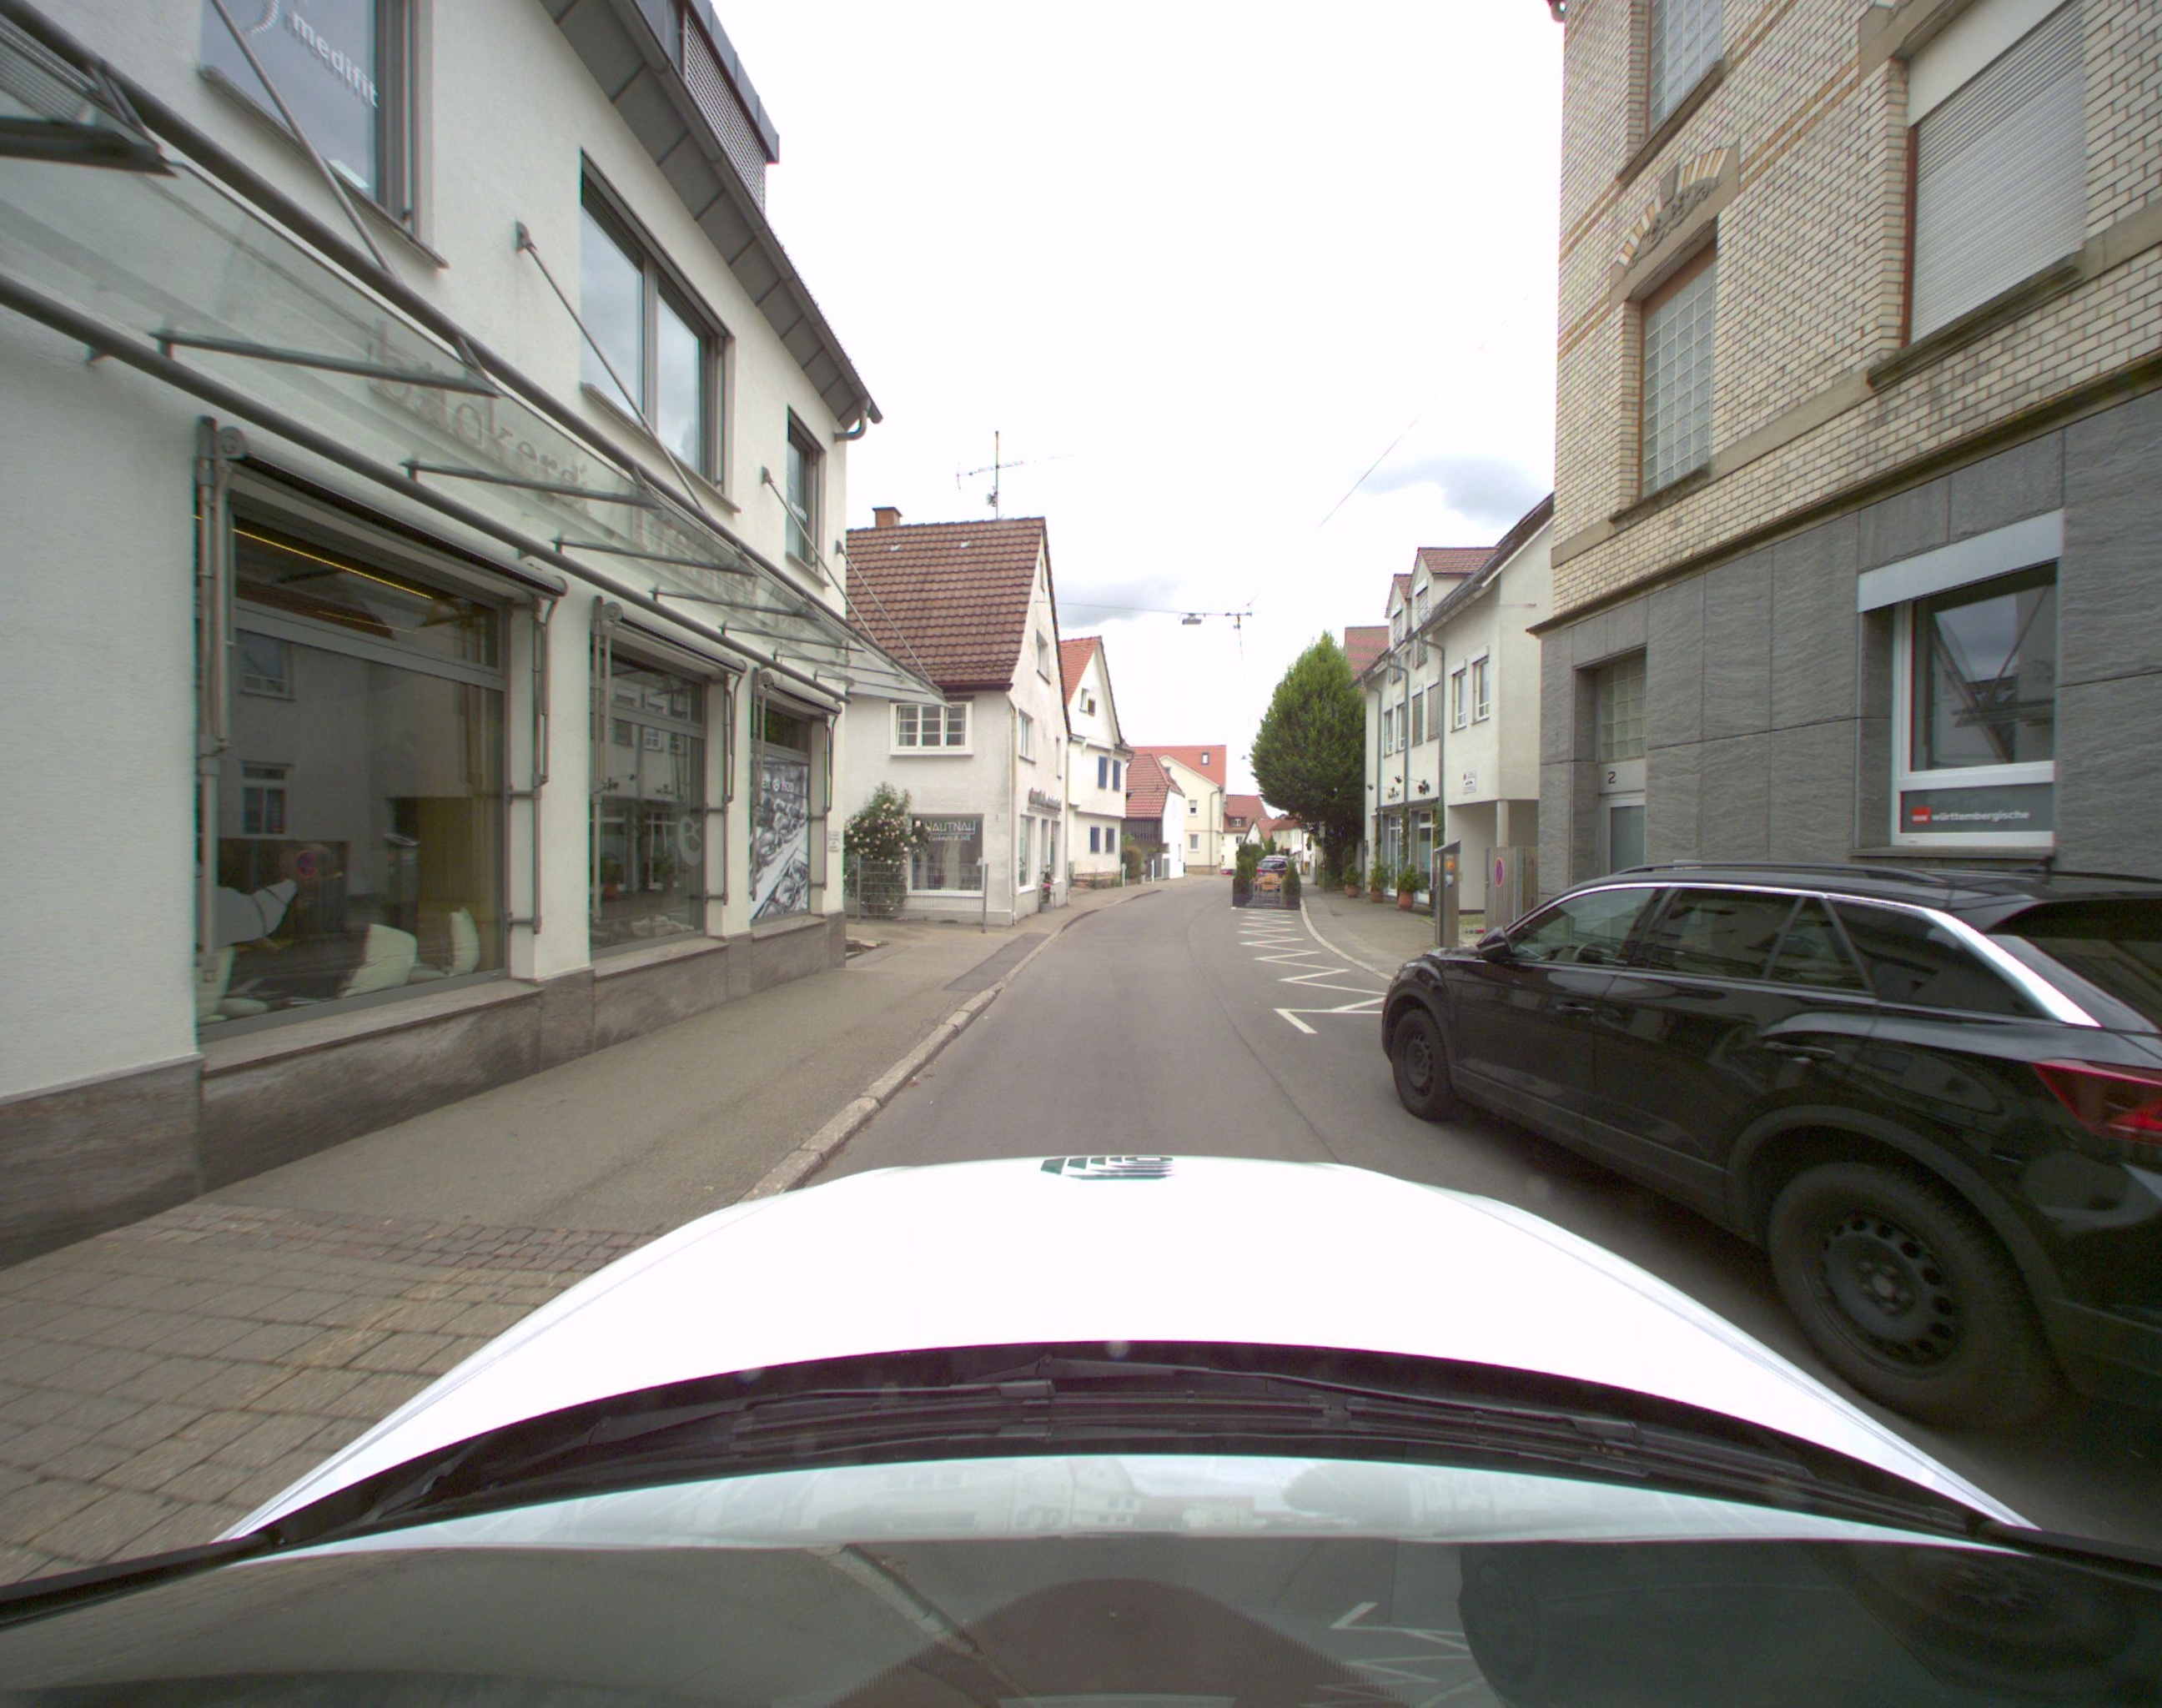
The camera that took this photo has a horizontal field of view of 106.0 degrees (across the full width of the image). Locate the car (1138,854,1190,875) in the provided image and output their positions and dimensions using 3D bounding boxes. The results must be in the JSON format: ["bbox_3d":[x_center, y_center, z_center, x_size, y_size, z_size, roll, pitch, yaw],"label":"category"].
[{"bbox_3d":[6.653,0.845,65.012,3.701,1.411,2.130,3,-1,18],"label":"car"}]

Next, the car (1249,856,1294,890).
[{"bbox_3d":[9.292,0.859,39.436,1.934,1.508,4.839,1,0,15],"label":"car"}]

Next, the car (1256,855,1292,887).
[{"bbox_3d":[10.734,0.909,45.265,1.850,1.633,4.919,0,-1,14],"label":"car"}]

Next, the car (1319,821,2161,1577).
[{"bbox_3d":[2.936,0.740,3.927,1.786,1.600,4.531,1,0,-7],"label":"car"}]

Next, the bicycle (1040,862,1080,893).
[{"bbox_3d":[-0.750,0.855,29.910,0.438,1.038,2.105,5,3,28],"label":"bicycle"}]

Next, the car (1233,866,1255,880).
[{"bbox_3d":[21.783,2.578,109.038,1.958,1.713,3.995,1,0,-4],"label":"car"}]

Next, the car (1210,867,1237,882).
[{"bbox_3d":[20.057,2.909,114.747,2.001,1.684,3.971,-4,-2,-21],"label":"car"}]
